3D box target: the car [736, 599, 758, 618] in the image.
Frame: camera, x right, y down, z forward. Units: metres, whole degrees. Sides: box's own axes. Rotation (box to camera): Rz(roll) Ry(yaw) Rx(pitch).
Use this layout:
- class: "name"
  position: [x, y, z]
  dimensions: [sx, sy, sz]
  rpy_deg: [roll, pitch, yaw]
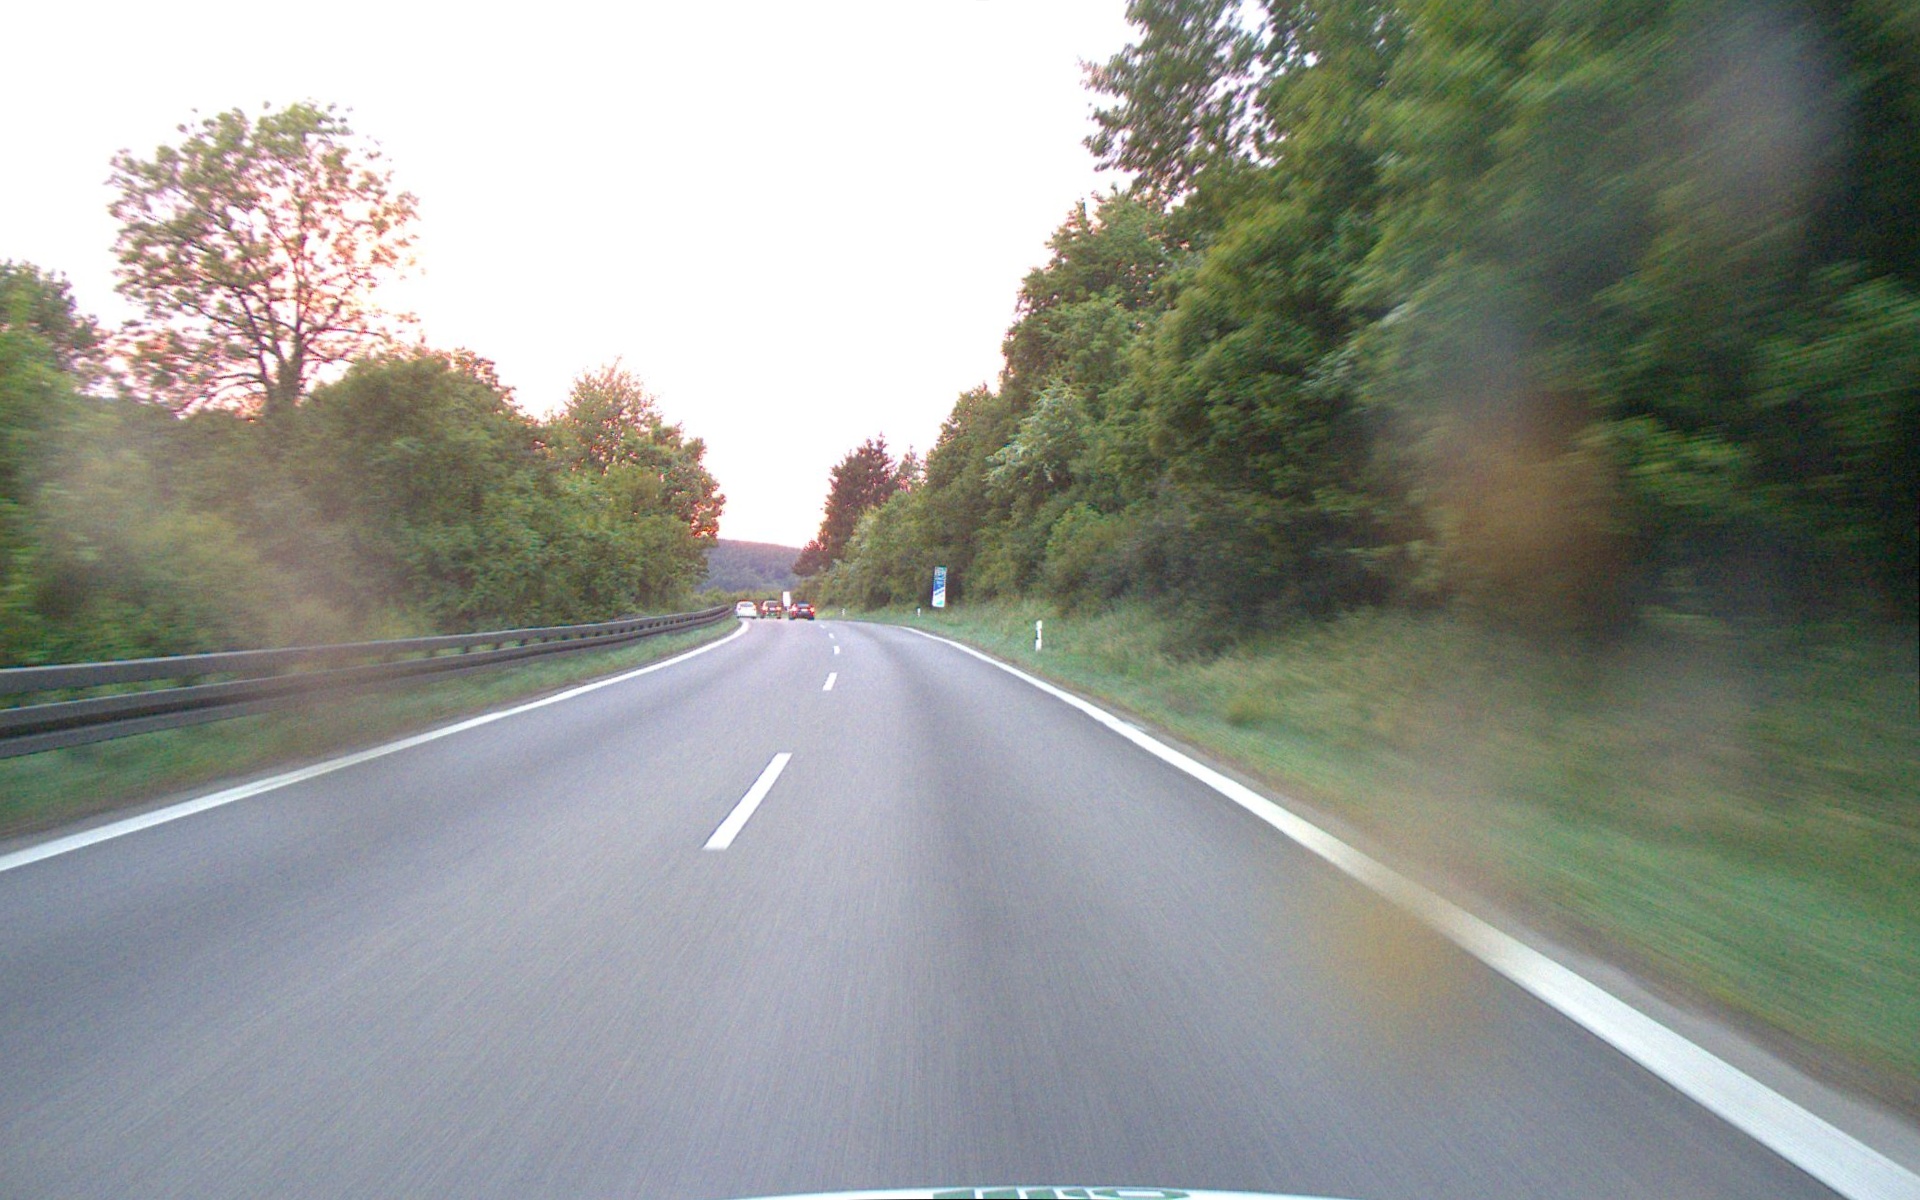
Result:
- class: "car"
  position: [-18.933, 0.763, 147.236]
  dimensions: [1.685, 1.528, 3.995]
  rpy_deg: [2, -2, -5]

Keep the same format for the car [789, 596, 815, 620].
- class: "car"
  position: [-13.224, 0.672, 138.049]
  dimensions: [1.956, 1.675, 3.992]
  rpy_deg: [4, -3, -7]

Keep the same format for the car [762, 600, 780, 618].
- class: "car"
  position: [-17.994, 0.872, 157.335]
  dimensions: [1.685, 1.664, 3.994]
  rpy_deg: [0, -1, -6]
